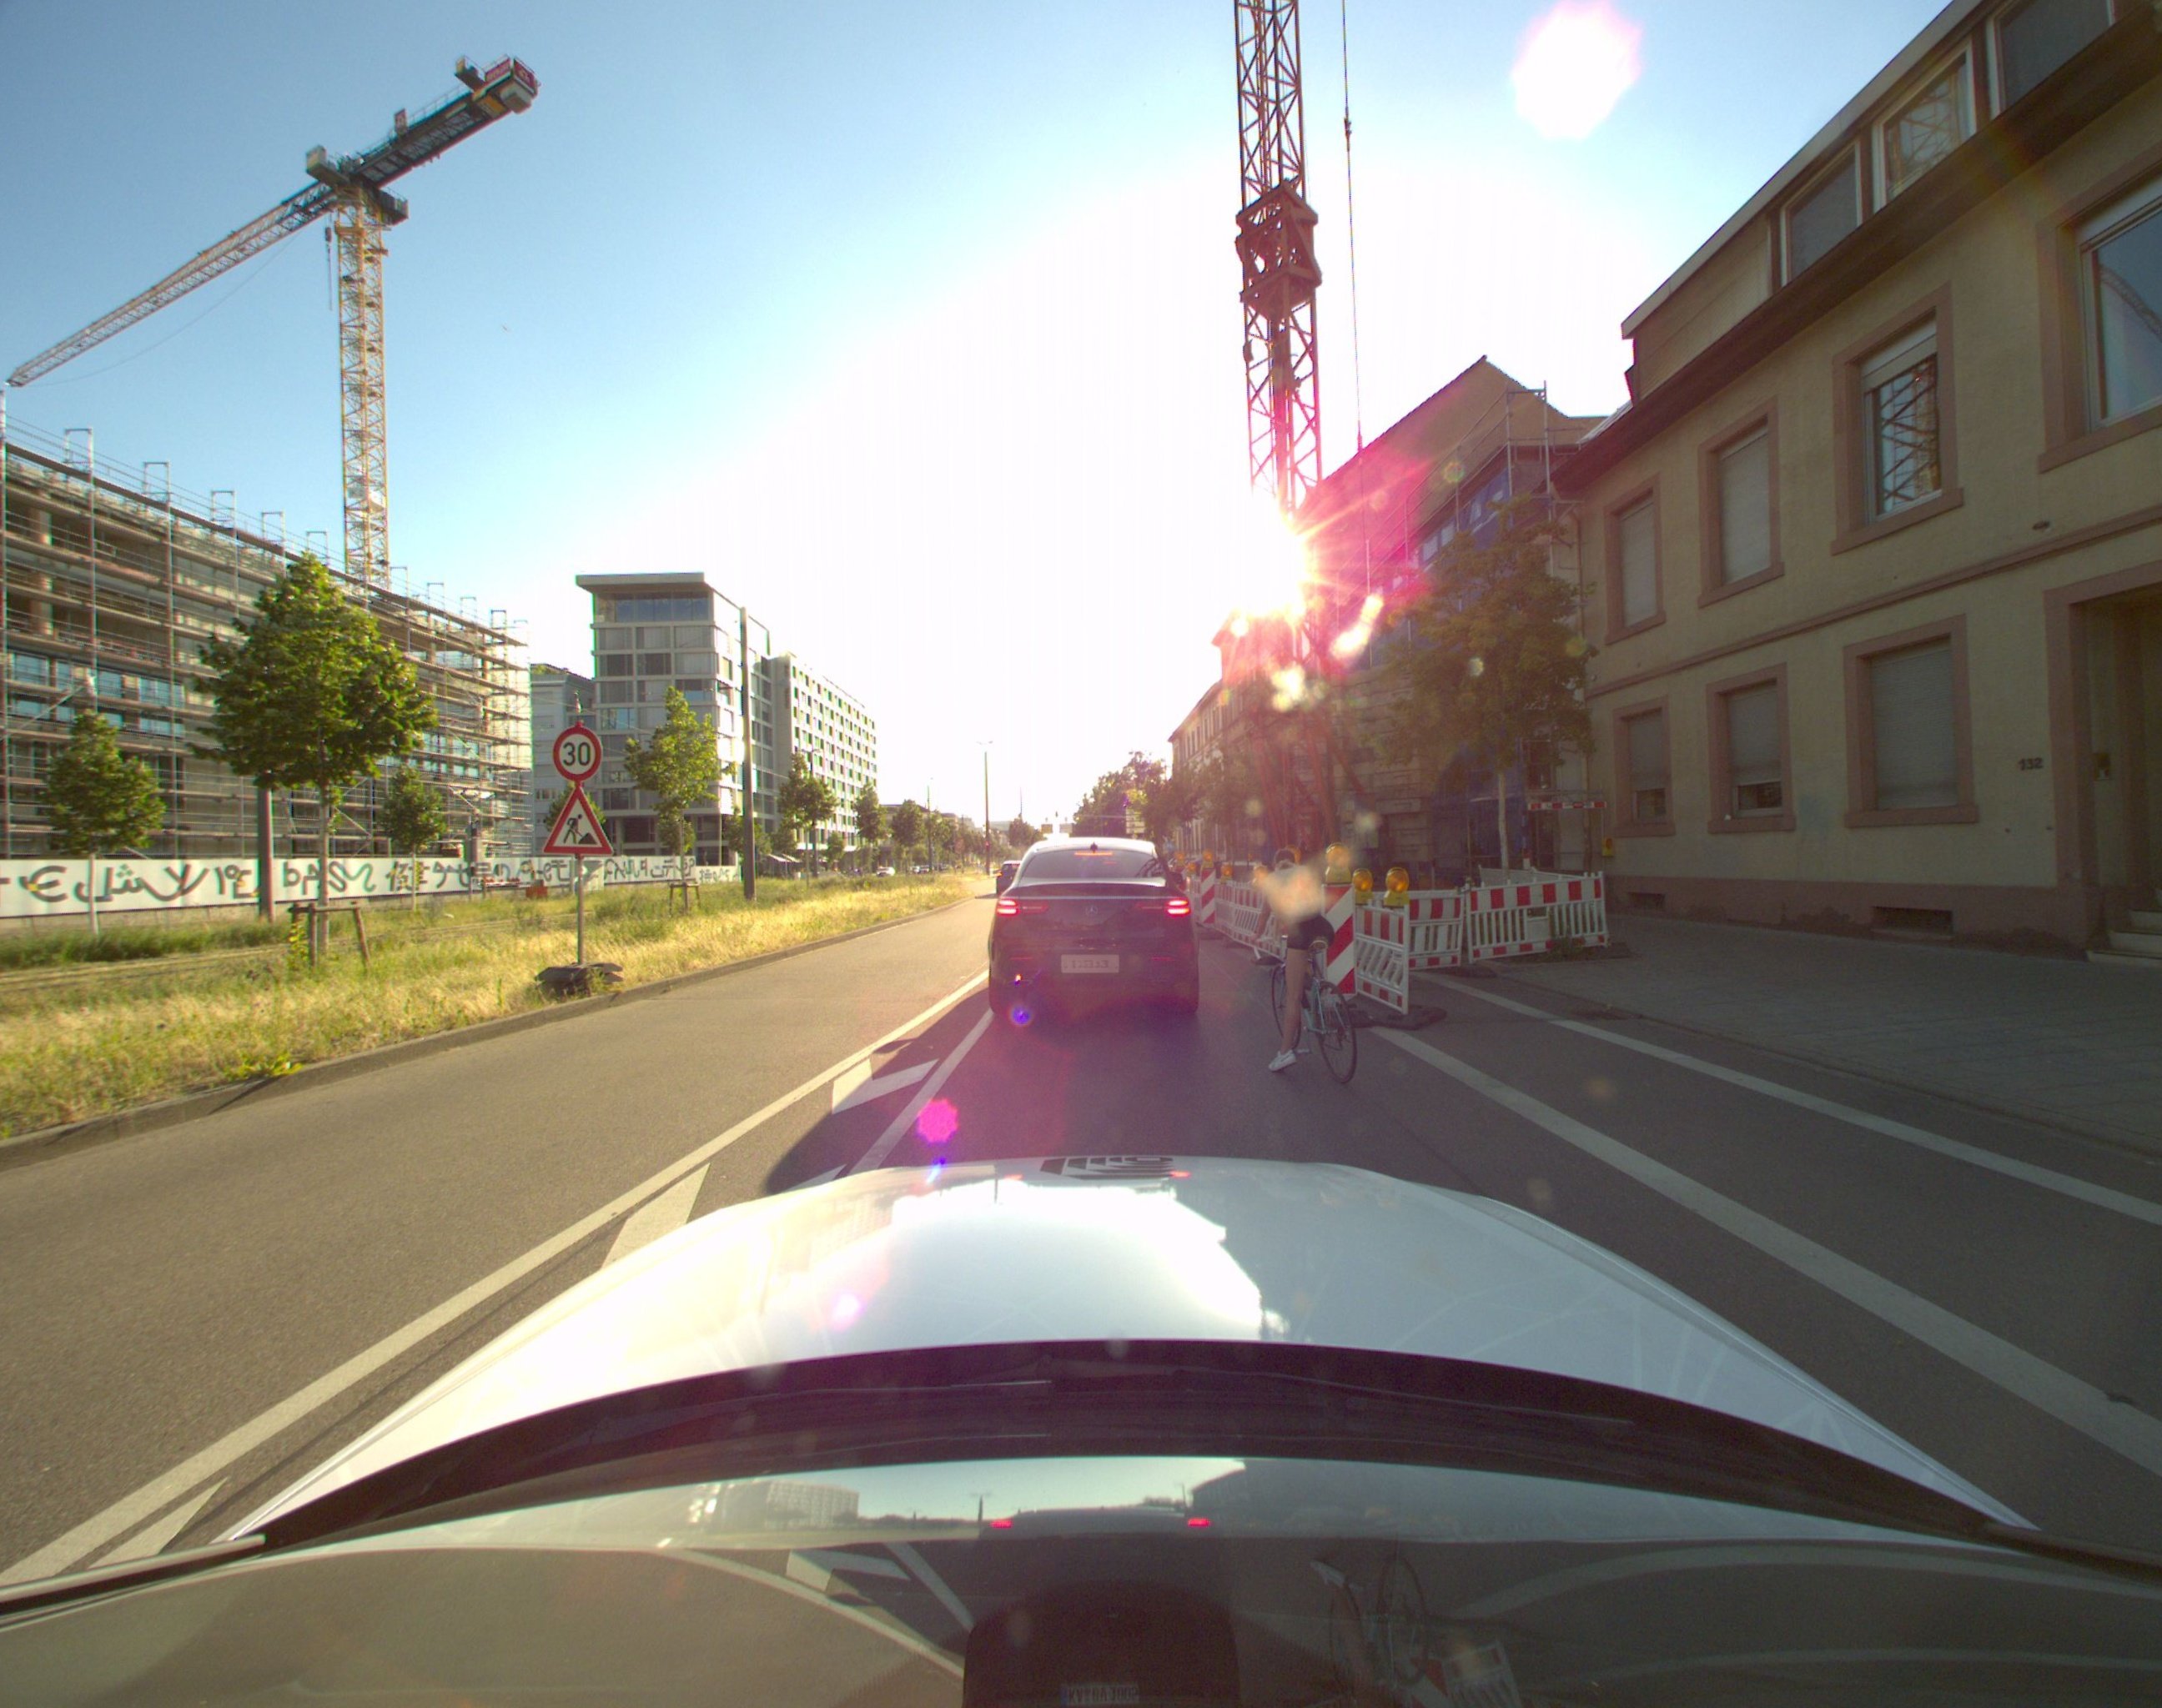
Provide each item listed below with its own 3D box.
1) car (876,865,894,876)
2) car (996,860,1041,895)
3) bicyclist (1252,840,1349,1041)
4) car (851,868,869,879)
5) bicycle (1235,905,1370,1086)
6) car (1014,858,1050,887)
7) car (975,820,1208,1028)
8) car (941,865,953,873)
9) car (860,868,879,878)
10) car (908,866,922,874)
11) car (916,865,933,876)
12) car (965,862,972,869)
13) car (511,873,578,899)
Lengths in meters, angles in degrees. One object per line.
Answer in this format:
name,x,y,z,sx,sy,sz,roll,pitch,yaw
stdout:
car,-27.988,2.382,116.398,1.703,1.442,3.581,0,-1,0
car,-2.690,0.980,35.564,1.703,1.442,3.581,0,-1,0
bicyclist,1.591,0.601,5.972,0.521,1.395,0.614,0,-1,-1
car,-32.175,2.815,118.544,1.703,1.442,3.581,0,-1,0
bicycle,1.586,0.961,6.089,0.511,1.052,1.724,0,-1,-1
car,-2.538,0.960,42.910,1.703,1.442,3.581,0,-1,0
car,0.149,0.617,8.980,1.986,1.772,4.001,0,-1,2
car,-25.385,2.796,154.367,1.703,1.442,3.581,0,-1,0
car,-30.331,2.708,116.883,1.703,1.442,3.581,0,-1,0
car,-27.784,2.672,136.345,1.703,1.442,3.581,0,-1,0
car,-22.442,2.343,117.028,1.703,1.442,3.581,0,-1,0
car,-32.689,3.394,236.387,1.994,2.014,3.986,0,-1,-10
car,-32.353,1.883,49.208,1.703,1.442,3.581,0,-1,0
